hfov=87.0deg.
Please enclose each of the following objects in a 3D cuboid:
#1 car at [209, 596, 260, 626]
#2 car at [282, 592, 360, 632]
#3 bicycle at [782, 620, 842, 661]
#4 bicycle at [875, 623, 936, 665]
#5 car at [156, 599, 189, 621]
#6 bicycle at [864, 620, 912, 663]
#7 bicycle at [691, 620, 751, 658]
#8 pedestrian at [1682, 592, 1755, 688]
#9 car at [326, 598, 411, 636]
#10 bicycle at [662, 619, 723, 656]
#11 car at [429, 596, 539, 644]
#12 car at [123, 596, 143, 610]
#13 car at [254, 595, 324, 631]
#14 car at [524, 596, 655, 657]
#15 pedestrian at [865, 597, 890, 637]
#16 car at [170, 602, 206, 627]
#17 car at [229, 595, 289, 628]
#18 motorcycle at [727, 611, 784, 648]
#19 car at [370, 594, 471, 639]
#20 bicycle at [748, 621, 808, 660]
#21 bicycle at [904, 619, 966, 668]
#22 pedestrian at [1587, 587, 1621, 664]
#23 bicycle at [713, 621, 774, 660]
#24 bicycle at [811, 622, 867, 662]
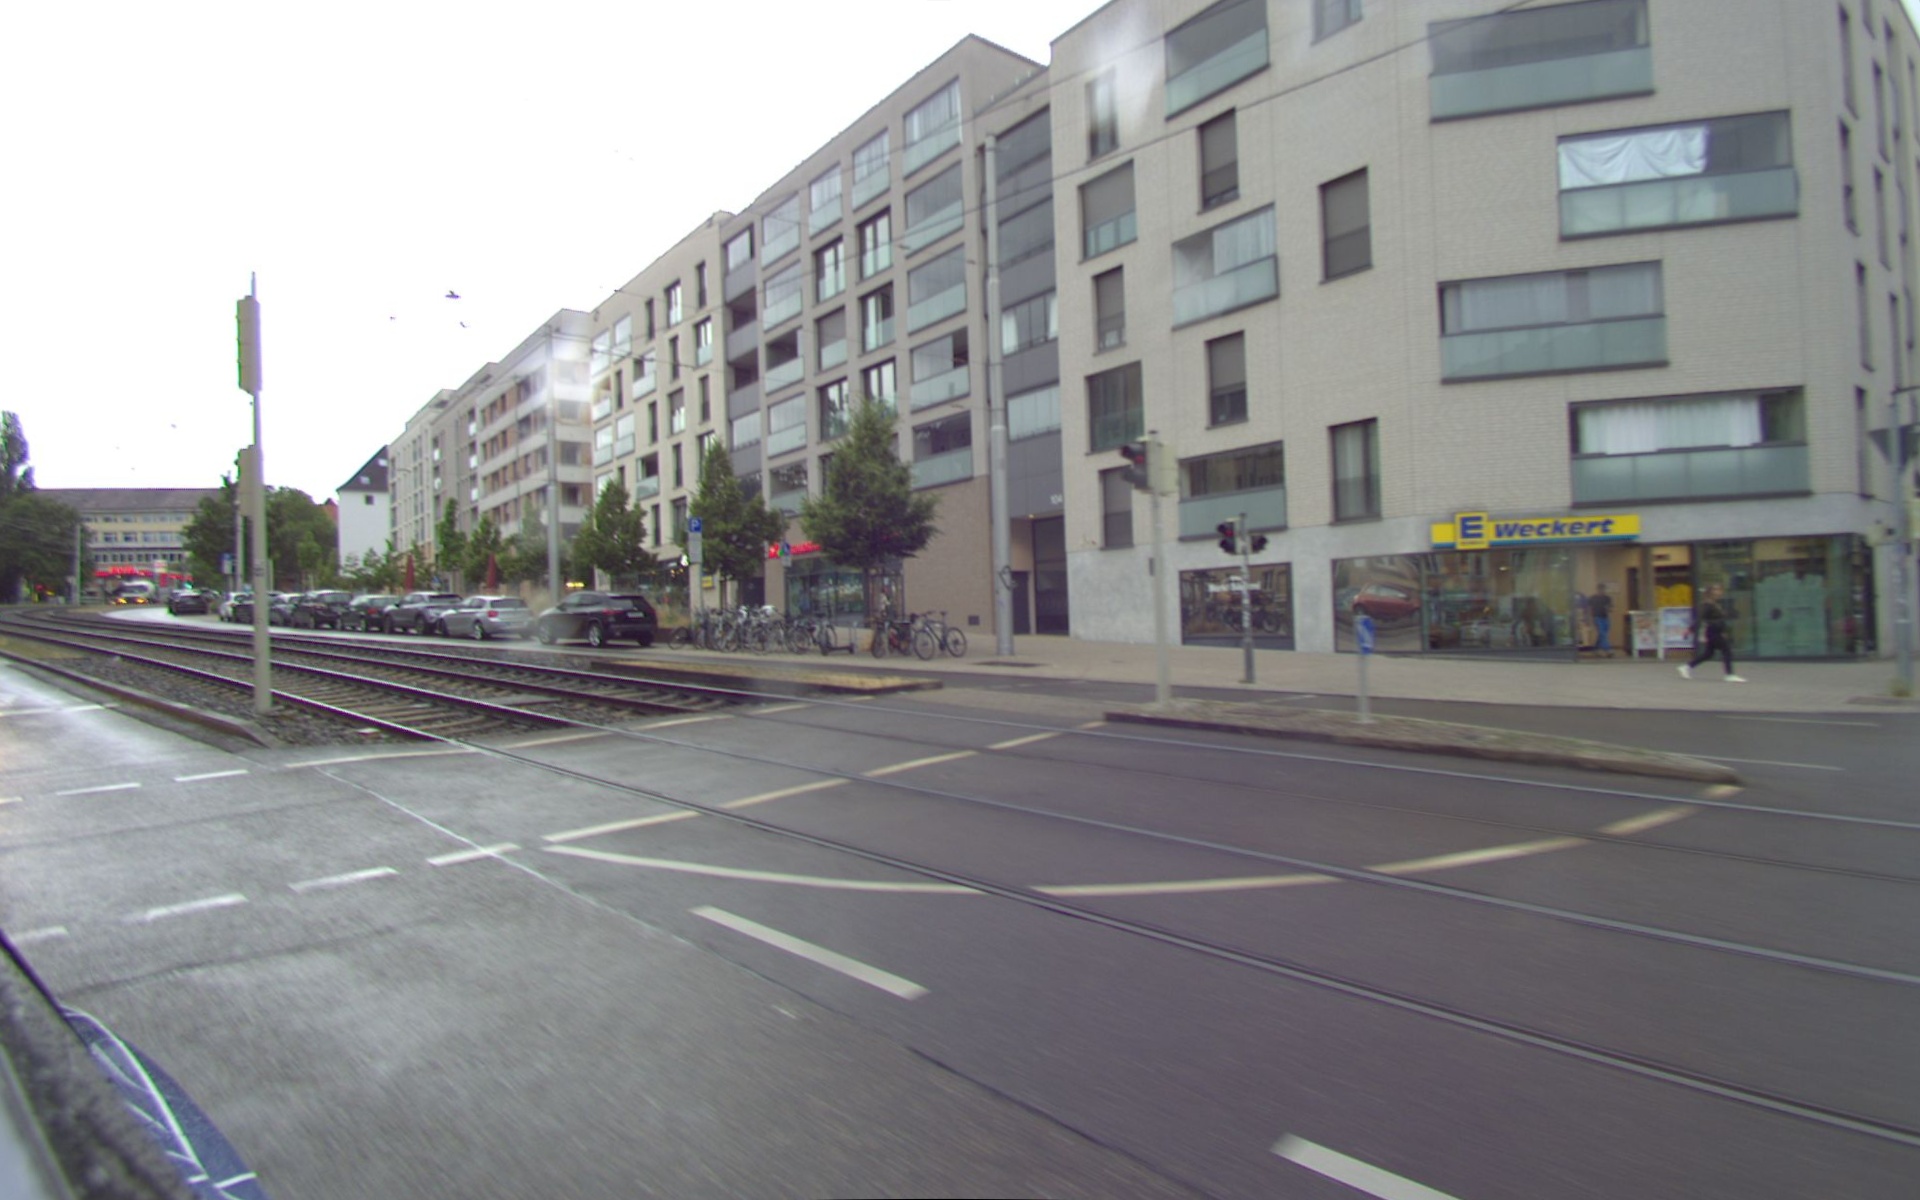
[{"bbox_3d":[-38.573,0.552,53.777,1.627,1.516,3.784,-2,2,-44],"label":"car"},{"bbox_3d":[-27.433,0.482,43.413,3.925,1.575,1.663,0,2,40],"label":"car"},{"bbox_3d":[-3.749,1.017,25.794,0.386,0.924,1.768,0,2,36],"label":"bicycle"},{"bbox_3d":[-1.298,1.041,24.349,0.387,0.883,1.766,0,2,38],"label":"bicycle"},{"bbox_3d":[-57.294,0.693,73.636,1.630,1.475,3.676,-4,3,-41],"label":"car"},{"bbox_3d":[-1.759,1.009,25.021,0.385,0.924,1.775,-1,2,23],"label":"bicycle"},{"bbox_3d":[-6.445,1.044,27.388,0.386,0.924,1.767,0,1,36],"label":"bicycle"},{"bbox_3d":[12.834,0.669,17.153,0.769,1.581,0.646,-1,0,13],"label":"pedestrian"},{"bbox_3d":[-23.535,0.633,40.231,4.030,1.391,1.663,0,2,40],"label":"car"},{"bbox_3d":[-7.339,1.009,27.809,0.386,0.924,1.767,0,1,36],"label":"bicycle"},{"bbox_3d":[-16.027,0.629,34.012,4.326,1.475,1.663,0,2,40],"label":"car"},{"bbox_3d":[-104.826,0.337,128.307,1.641,1.618,3.818,-3,3,-34],"label":"car"},{"bbox_3d":[-31.214,0.571,47.026,3.925,1.516,1.663,0,2,40],"label":"car"},{"bbox_3d":[-10.920,0.721,29.718,4.326,1.615,1.663,0,2,40],"label":"car"},{"bbox_3d":[-3.117,0.639,38.142,0.532,1.460,0.805,-3,3,-37],"label":"pedestrian"},{"bbox_3d":[-51.454,0.946,67.443,1.630,1.475,3.676,-4,3,-41],"label":"car"},{"bbox_3d":[-34.816,0.539,50.207,1.661,1.516,4.408,-2,2,-45],"label":"car"},{"bbox_3d":[-6.178,0.884,30.654,0.542,1.050,1.742,2,1,37],"label":"motorcycle"},{"bbox_3d":[-19.946,0.565,37.352,4.041,1.541,1.665,0,2,36],"label":"car"},{"bbox_3d":[-4.697,1.028,26.238,0.386,0.924,1.767,0,1,36],"label":"bicycle"},{"bbox_3d":[-0.553,0.983,23.316,0.440,0.987,1.768,0,2,36],"label":"bicycle"},{"bbox_3d":[14.723,0.569,23.158,0.582,1.723,0.699,0,2,27],"label":"pedestrian"},{"bbox_3d":[-5.650,1.037,26.504,0.386,0.924,1.767,0,1,36],"label":"bicycle"},{"bbox_3d":[-3.024,1.033,25.401,0.386,0.924,1.770,0,0,32],"label":"bicycle"}]
